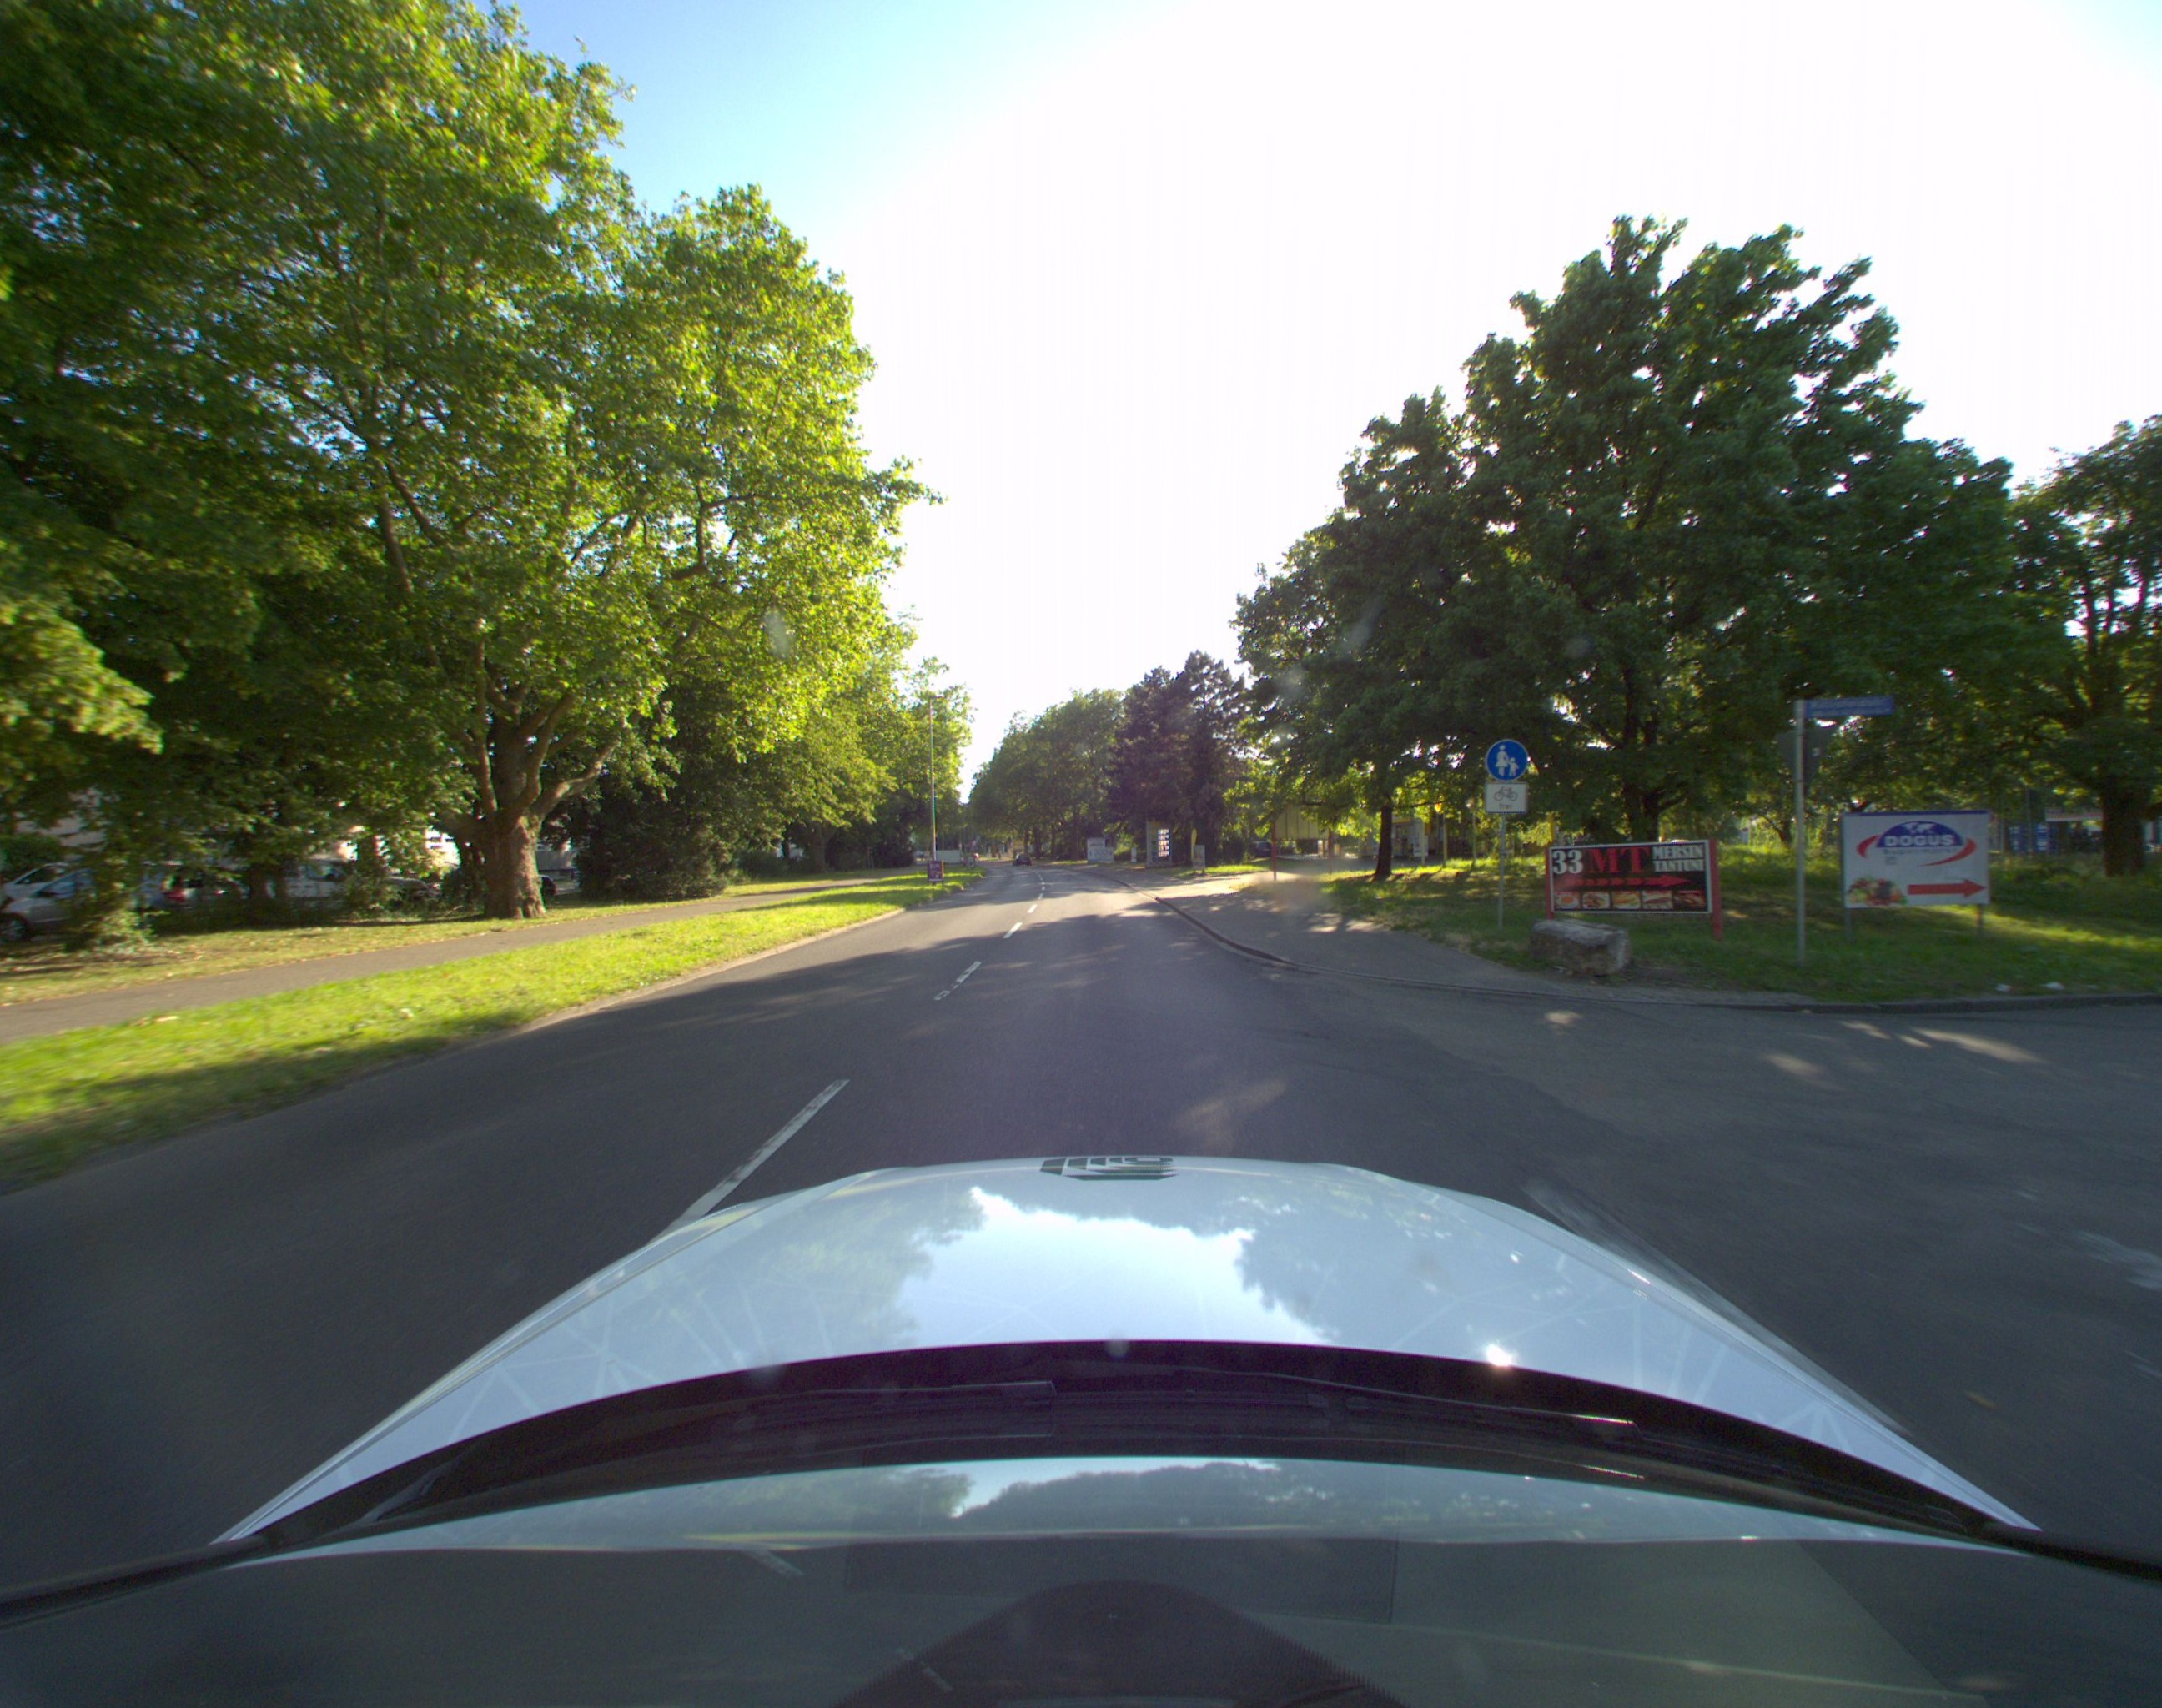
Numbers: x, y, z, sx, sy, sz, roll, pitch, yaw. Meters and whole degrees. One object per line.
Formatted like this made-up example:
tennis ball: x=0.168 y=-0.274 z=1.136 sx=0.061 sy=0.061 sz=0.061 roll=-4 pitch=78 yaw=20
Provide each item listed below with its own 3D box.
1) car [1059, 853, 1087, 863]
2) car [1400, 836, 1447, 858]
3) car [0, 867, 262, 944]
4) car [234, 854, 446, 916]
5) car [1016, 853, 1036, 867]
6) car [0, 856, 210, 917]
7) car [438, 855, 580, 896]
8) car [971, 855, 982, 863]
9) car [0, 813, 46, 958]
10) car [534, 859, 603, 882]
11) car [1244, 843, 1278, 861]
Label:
car: x=-1.238 y=0.579 z=123.486 sx=3.986 sy=1.443 sz=1.755 roll=-2 pitch=0 yaw=-9
car: x=28.652 y=-0.615 z=68.251 sx=1.809 sy=1.728 sz=4.391 roll=-2 pitch=0 yaw=-5
car: x=-21.149 y=1.110 z=18.184 sx=3.718 sy=1.500 sz=1.812 roll=-1 pitch=0 yaw=-3
car: x=-21.455 y=0.864 z=23.758 sx=4.120 sy=1.596 sz=1.948 roll=-2 pitch=0 yaw=-7
car: x=-6.362 y=0.681 z=94.512 sx=1.832 sy=1.605 sz=3.865 roll=-1 pitch=0 yaw=2
car: x=-34.204 y=1.097 z=28.657 sx=4.542 sy=2.014 sz=1.994 roll=0 pitch=-1 yaw=-8
car: x=-21.678 y=0.793 z=31.016 sx=3.981 sy=1.508 sz=1.909 roll=0 pitch=0 yaw=-6
car: x=-26.626 y=1.179 z=207.572 sx=1.984 sy=2.013 sz=4.005 roll=-1 pitch=0 yaw=5
car: x=-21.300 y=0.673 z=13.406 sx=5.416 sy=2.501 sz=2.185 roll=-3 pitch=0 yaw=-2
car: x=-39.223 y=1.229 z=62.426 sx=3.989 sy=1.601 sz=1.922 roll=-1 pitch=0 yaw=-11
car: x=14.769 y=-0.155 z=67.007 sx=1.837 sy=1.420 sz=3.997 roll=-1 pitch=0 yaw=-2
